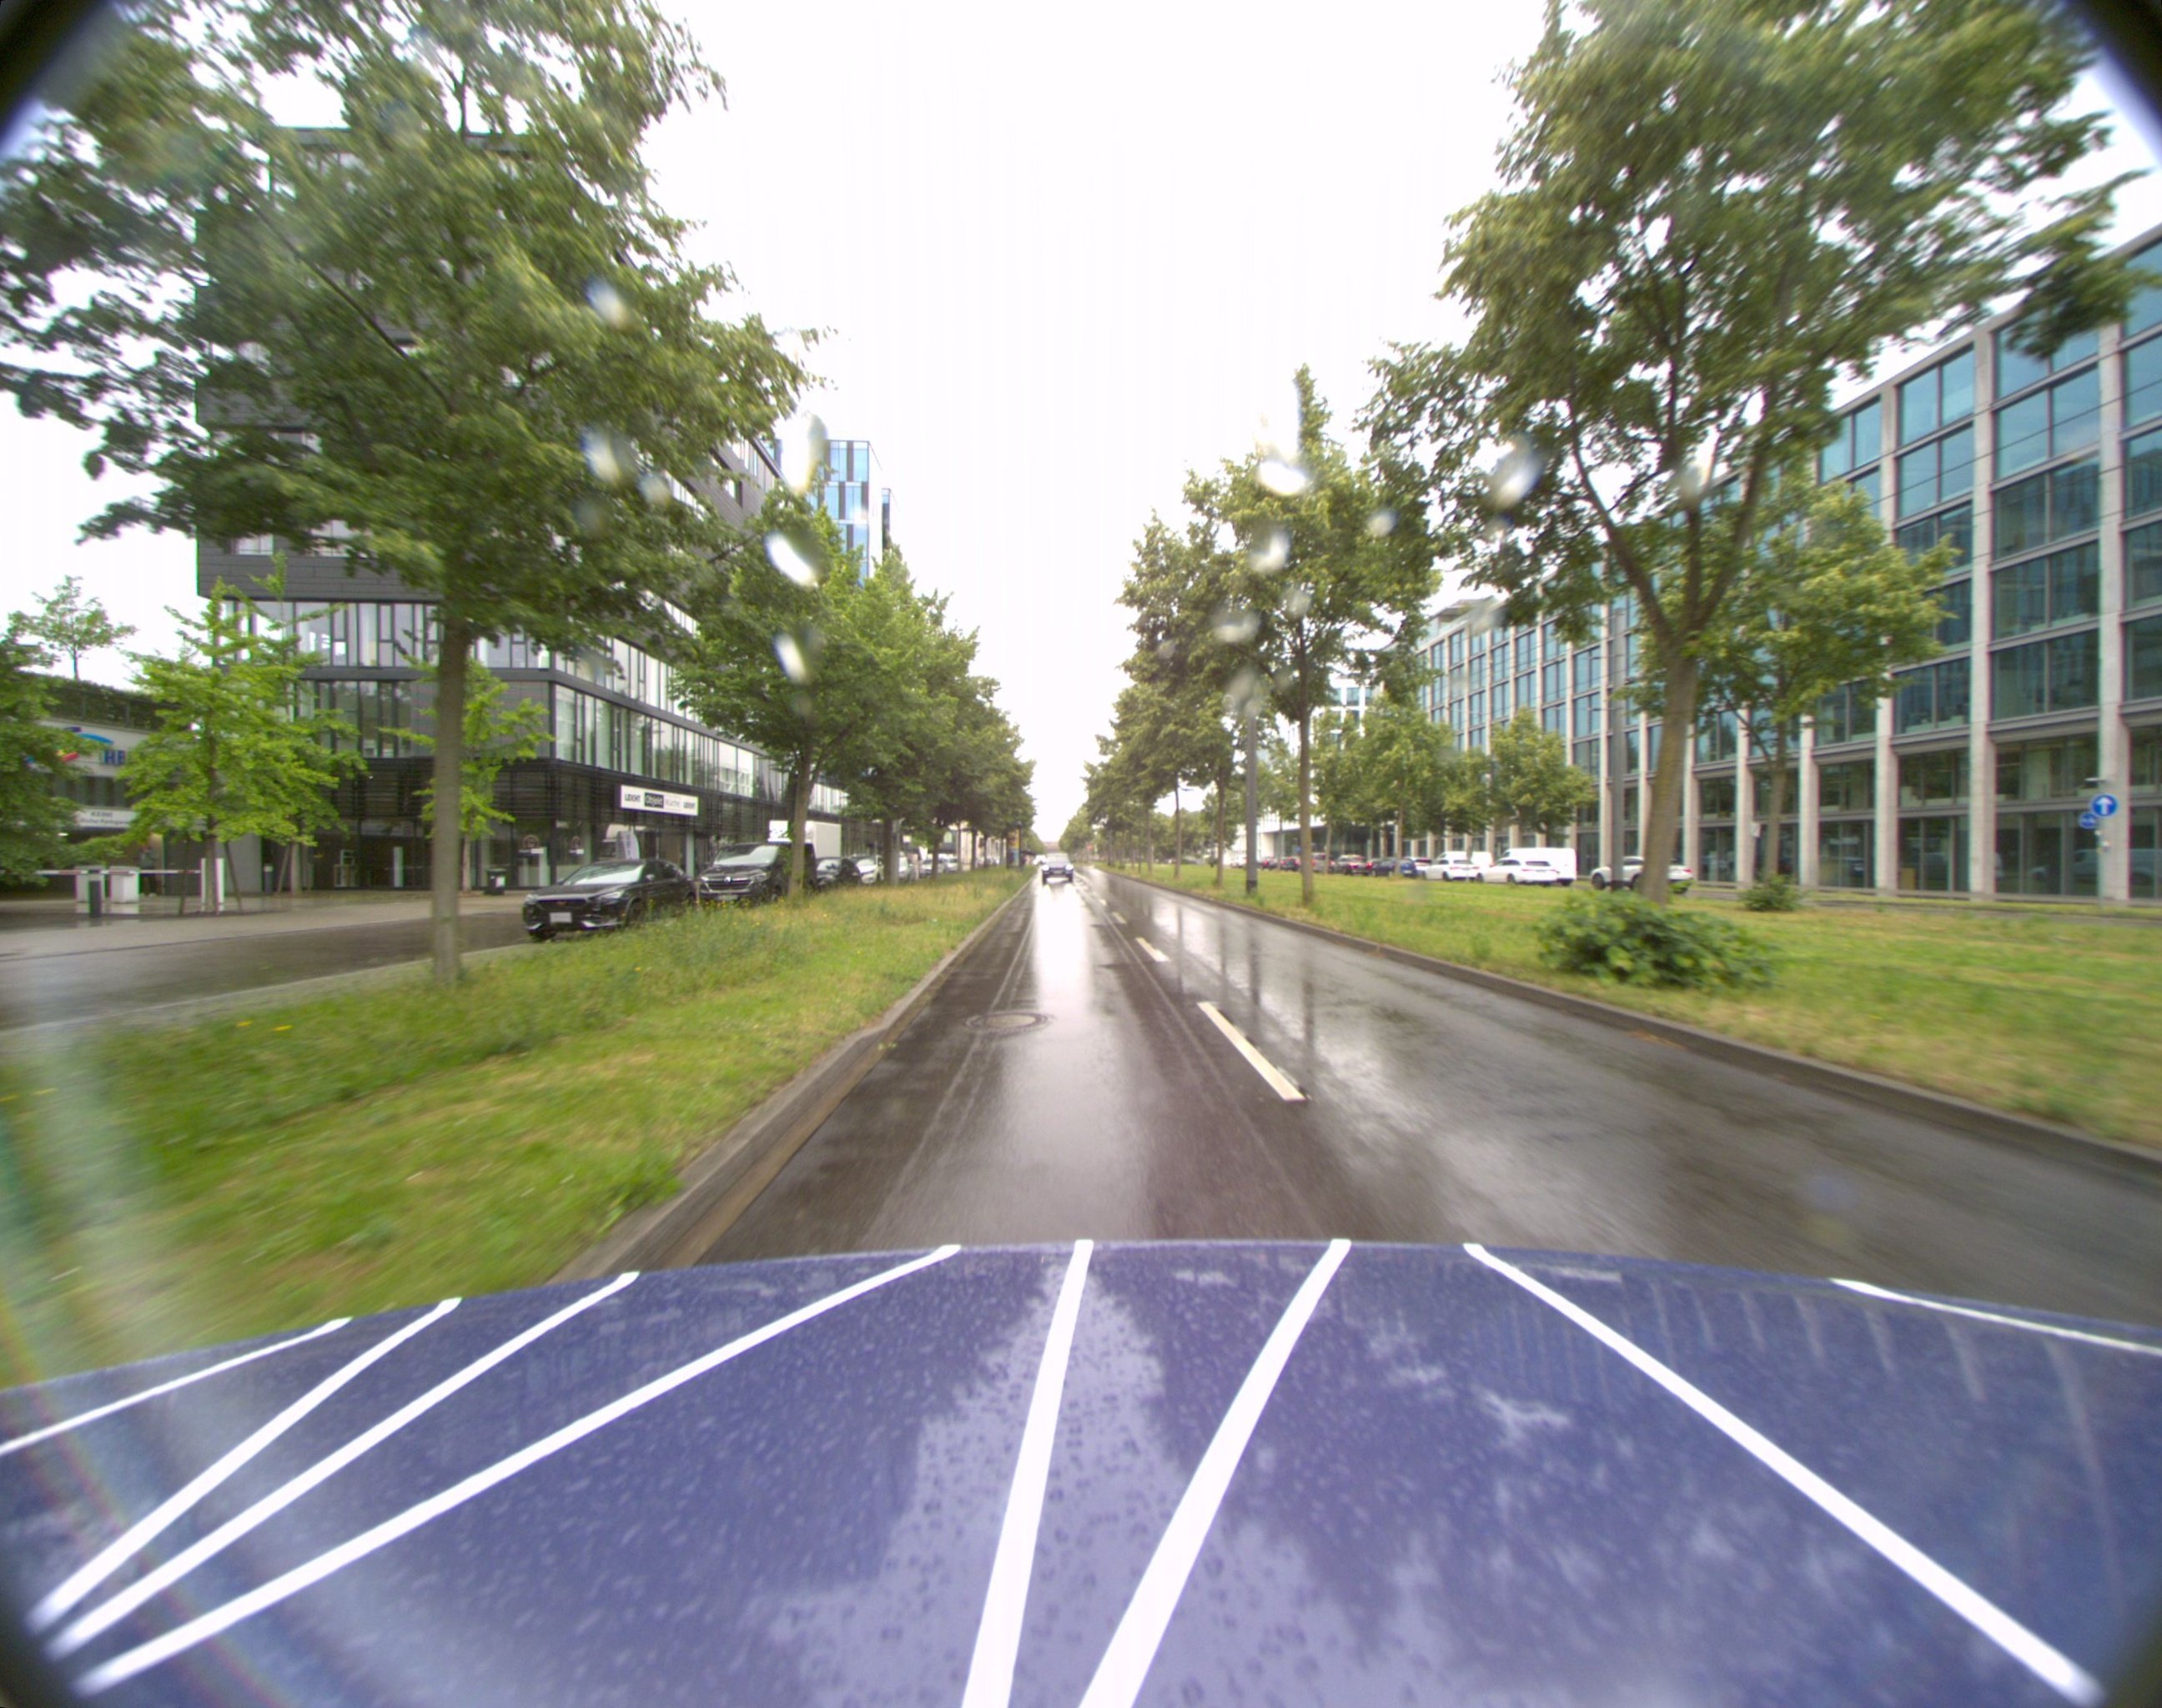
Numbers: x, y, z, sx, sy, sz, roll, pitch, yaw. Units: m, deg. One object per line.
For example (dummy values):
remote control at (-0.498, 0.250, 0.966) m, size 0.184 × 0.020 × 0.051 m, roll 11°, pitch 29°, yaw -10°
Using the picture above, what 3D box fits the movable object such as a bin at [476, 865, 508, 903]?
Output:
movable object such as a bin at (-20.192, 1.028, 26.060) m, size 0.609 × 1.268 × 0.648 m, roll 0°, pitch -2°, yaw -6°

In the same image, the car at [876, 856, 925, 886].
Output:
car at (-9.823, 0.950, 41.690) m, size 1.775 × 1.443 × 4.723 m, roll -3°, pitch -2°, yaw -4°

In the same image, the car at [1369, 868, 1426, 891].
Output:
car at (21.267, 1.743, 51.224) m, size 1.956 × 1.485 × 3.962 m, roll 0°, pitch -3°, yaw -4°

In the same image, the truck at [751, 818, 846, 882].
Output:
truck at (-16.423, -0.191, 44.936) m, size 3.033 × 3.420 × 8.544 m, roll 0°, pitch 0°, yaw -5°

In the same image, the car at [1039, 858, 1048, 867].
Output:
car at (-6.738, 1.486, 136.901) m, size 1.687 × 1.520 × 3.969 m, roll 0°, pitch -3°, yaw -4°

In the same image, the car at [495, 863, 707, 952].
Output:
car at (-9.418, 0.948, 15.422) m, size 1.962 × 1.504 × 4.479 m, roll 0°, pitch 0°, yaw -8°

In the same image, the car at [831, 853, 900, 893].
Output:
car at (-9.913, 0.844, 35.321) m, size 1.999 × 1.659 × 4.723 m, roll -2°, pitch -1°, yaw -2°

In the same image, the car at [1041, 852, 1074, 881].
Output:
car at (-1.395, 0.770, 46.982) m, size 1.928 × 1.650 × 4.715 m, roll 1°, pitch 0°, yaw -1°

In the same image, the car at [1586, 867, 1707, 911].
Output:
car at (24.542, 1.452, 33.206) m, size 1.955 × 1.739 × 4.576 m, roll 0°, pitch 0°, yaw 1°

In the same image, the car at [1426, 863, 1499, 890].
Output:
car at (24.547, 1.514, 49.120) m, size 1.956 × 1.641 × 5.030 m, roll 0°, pitch -3°, yaw -3°

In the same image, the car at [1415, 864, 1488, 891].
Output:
car at (21.667, 1.353, 44.690) m, size 1.956 × 1.504 × 4.575 m, roll 0°, pitch 0°, yaw -2°

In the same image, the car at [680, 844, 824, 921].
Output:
car at (-9.158, 0.834, 21.702) m, size 1.999 × 1.940 × 5.030 m, roll 0°, pitch -3°, yaw -1°

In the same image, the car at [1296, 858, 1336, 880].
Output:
car at (20.654, 1.323, 67.000) m, size 1.956 × 1.837 × 4.543 m, roll 0°, pitch -1°, yaw -2°

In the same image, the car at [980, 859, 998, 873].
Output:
car at (-11.943, 1.552, 99.030) m, size 1.999 × 1.696 × 4.218 m, roll 0°, pitch -3°, yaw -3°

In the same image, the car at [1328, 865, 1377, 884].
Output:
car at (20.872, 1.623, 58.700) m, size 1.956 × 1.377 × 4.605 m, roll 0°, pitch -3°, yaw -3°

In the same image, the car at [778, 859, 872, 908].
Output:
car at (-9.569, 1.095, 28.874) m, size 1.999 × 1.659 × 4.958 m, roll -2°, pitch -1°, yaw -2°

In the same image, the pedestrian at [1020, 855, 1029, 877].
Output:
pedestrian at (-3.747, 0.780, 50.392) m, size 0.644 × 1.484 × 0.700 m, roll 0°, pitch 0°, yaw -4°

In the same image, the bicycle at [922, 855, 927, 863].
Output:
bicycle at (-18.902, 0.636, 91.734) m, size 0.438 × 0.892 × 1.231 m, roll 0°, pitch -2°, yaw -6°

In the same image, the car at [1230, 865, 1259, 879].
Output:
car at (17.268, 1.909, 80.303) m, size 1.956 × 1.444 × 4.575 m, roll 0°, pitch 0°, yaw -2°

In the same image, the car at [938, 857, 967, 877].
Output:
car at (-10.555, 1.097, 62.481) m, size 1.765 × 1.586 × 4.101 m, roll 0°, pitch -3°, yaw -2°

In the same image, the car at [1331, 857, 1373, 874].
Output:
car at (24.065, 1.085, 67.648) m, size 1.956 × 1.377 × 4.272 m, roll 0°, pitch -3°, yaw -4°

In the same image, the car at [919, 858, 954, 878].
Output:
car at (-10.599, 1.021, 56.159) m, size 1.999 × 1.436 × 5.235 m, roll 0°, pitch 0°, yaw -5°

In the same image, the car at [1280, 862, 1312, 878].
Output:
car at (23.177, 1.683, 81.995) m, size 1.956 × 1.684 × 4.271 m, roll 0°, pitch 0°, yaw -3°

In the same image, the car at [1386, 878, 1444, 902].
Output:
car at (24.401, 2.630, 55.701) m, size 1.956 × 1.735 × 4.634 m, roll 0°, pitch -3°, yaw -4°

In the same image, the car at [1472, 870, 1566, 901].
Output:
car at (21.474, 1.570, 37.532) m, size 1.955 × 1.451 × 4.834 m, roll 0°, pitch -3°, yaw 2°

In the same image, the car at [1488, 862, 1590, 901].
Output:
car at (24.675, 1.513, 41.233) m, size 2.274 × 1.994 × 5.374 m, roll 0°, pitch -3°, yaw -1°
